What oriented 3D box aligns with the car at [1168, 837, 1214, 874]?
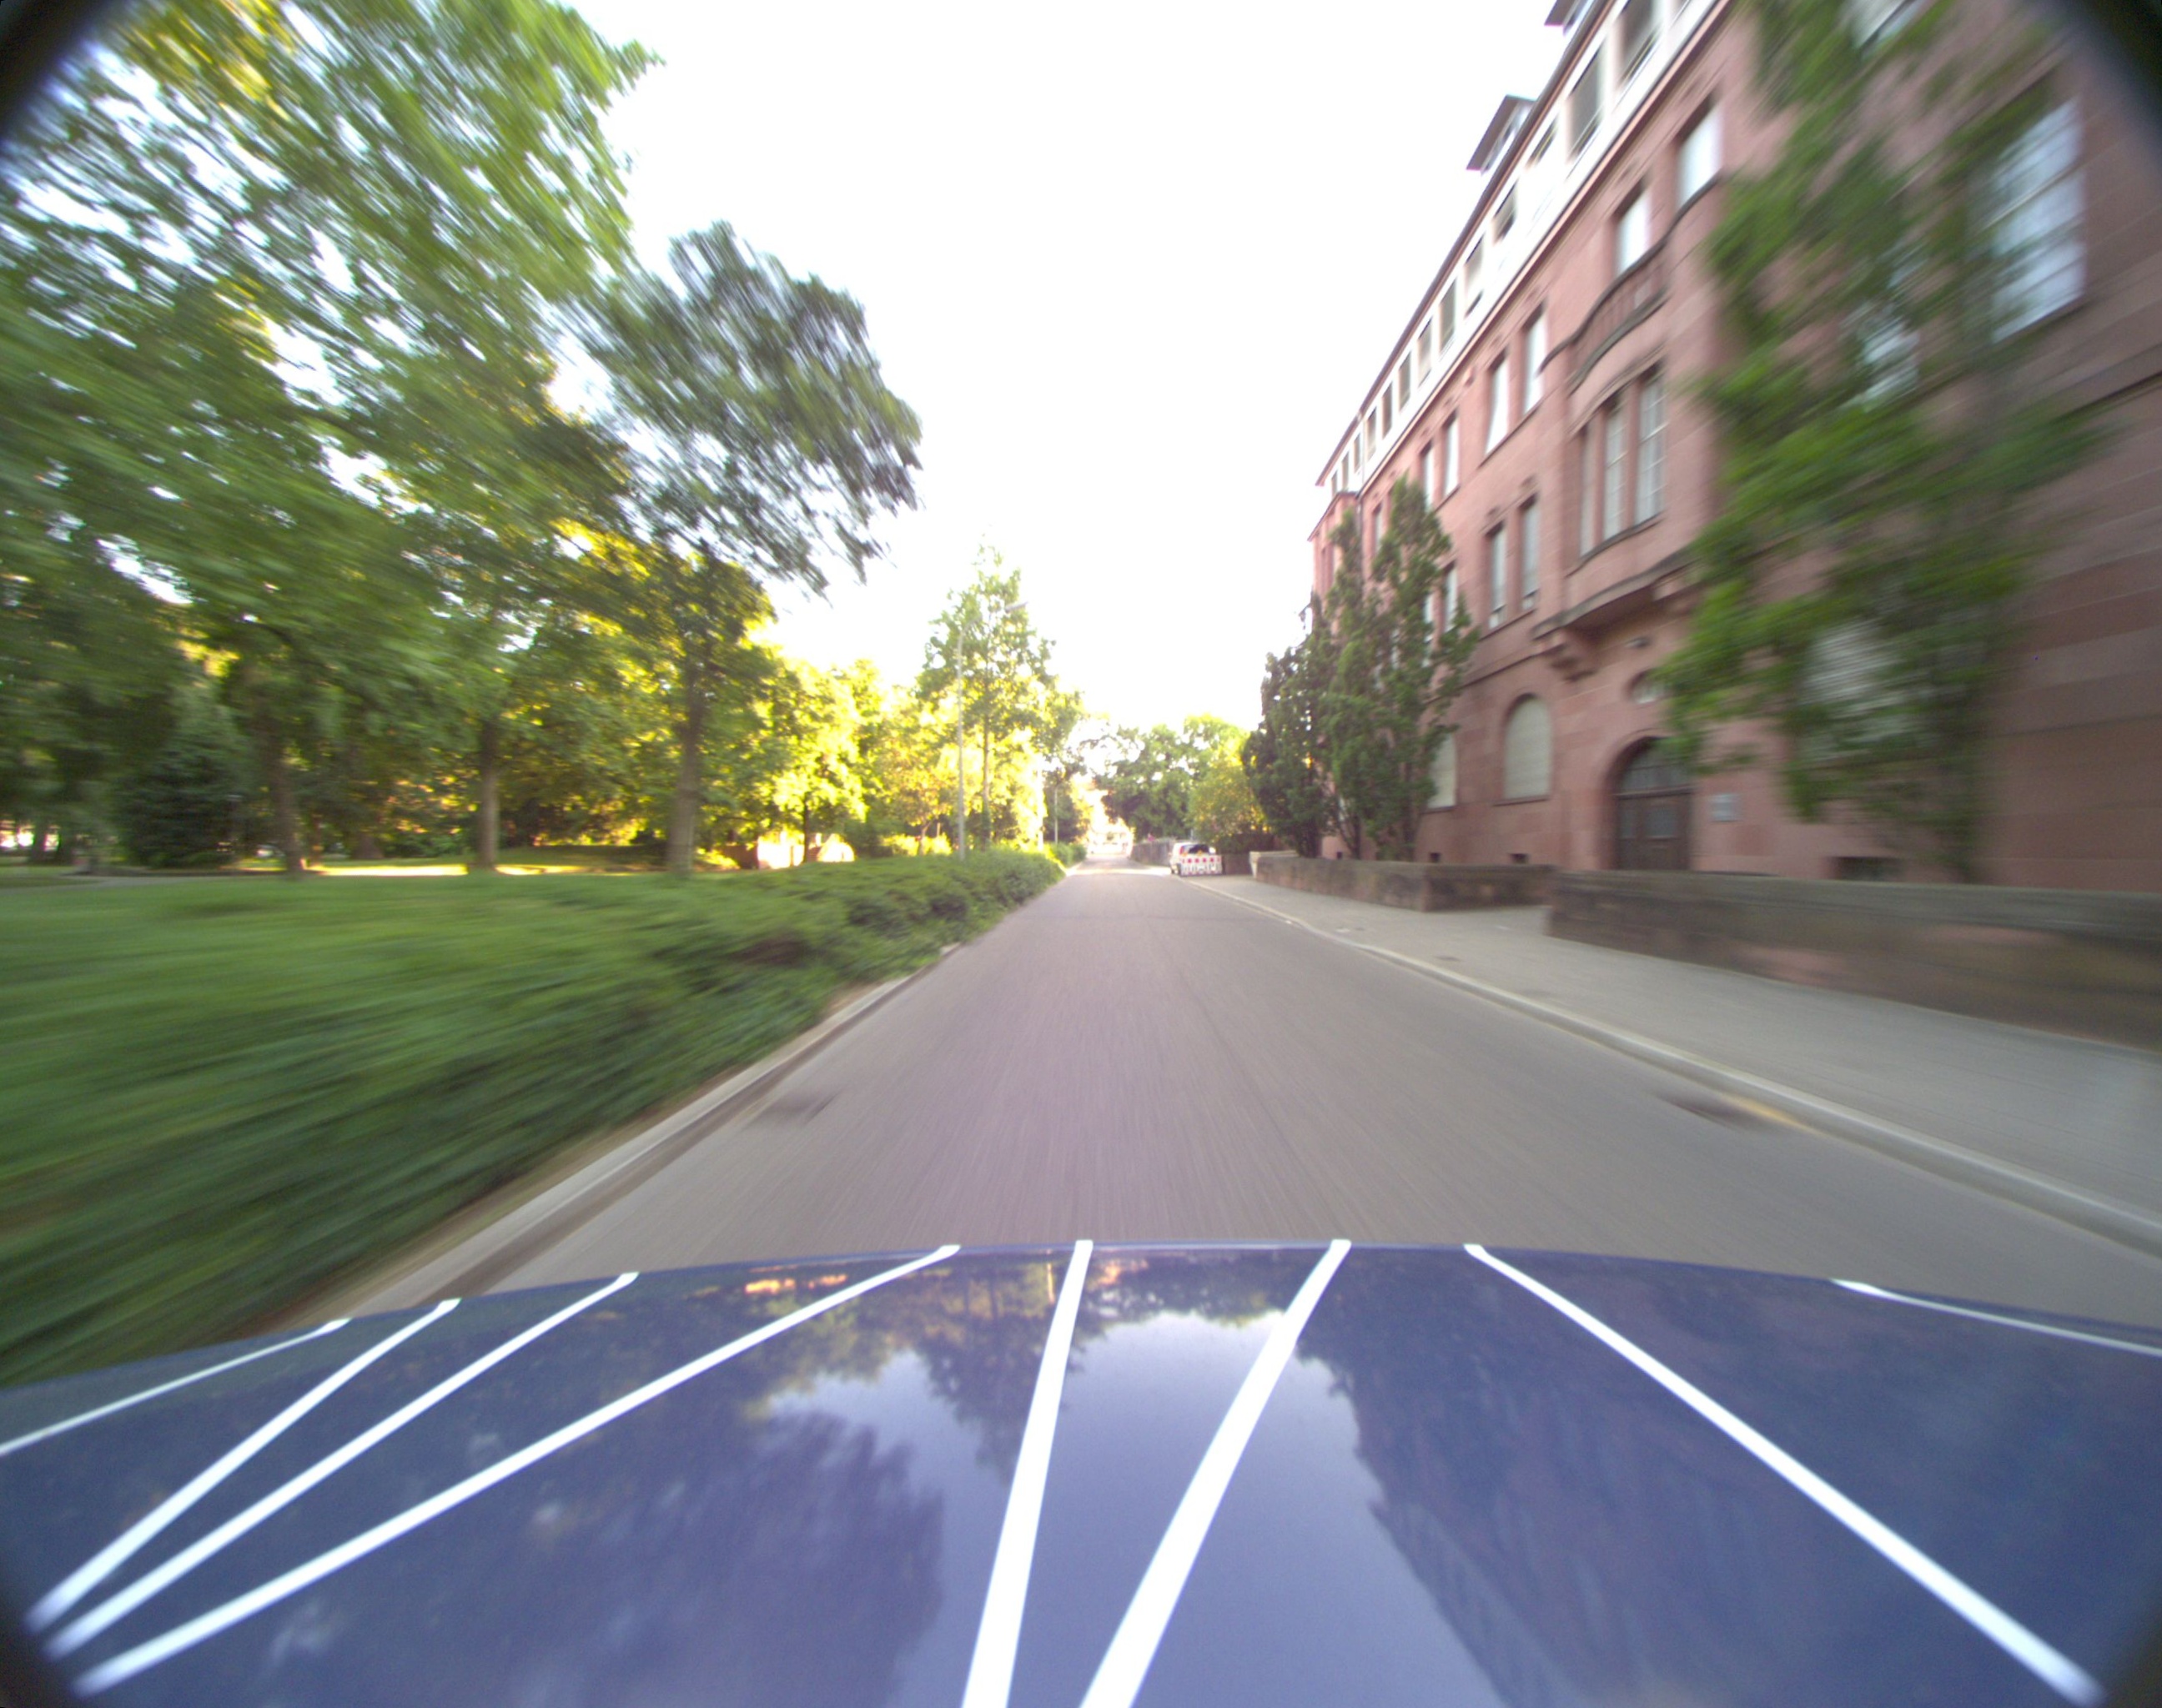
[{"bbox_3d":[6.454,0.054,45.245,1.887,2.002,5.225,-3,1,0],"label":"car"}]
